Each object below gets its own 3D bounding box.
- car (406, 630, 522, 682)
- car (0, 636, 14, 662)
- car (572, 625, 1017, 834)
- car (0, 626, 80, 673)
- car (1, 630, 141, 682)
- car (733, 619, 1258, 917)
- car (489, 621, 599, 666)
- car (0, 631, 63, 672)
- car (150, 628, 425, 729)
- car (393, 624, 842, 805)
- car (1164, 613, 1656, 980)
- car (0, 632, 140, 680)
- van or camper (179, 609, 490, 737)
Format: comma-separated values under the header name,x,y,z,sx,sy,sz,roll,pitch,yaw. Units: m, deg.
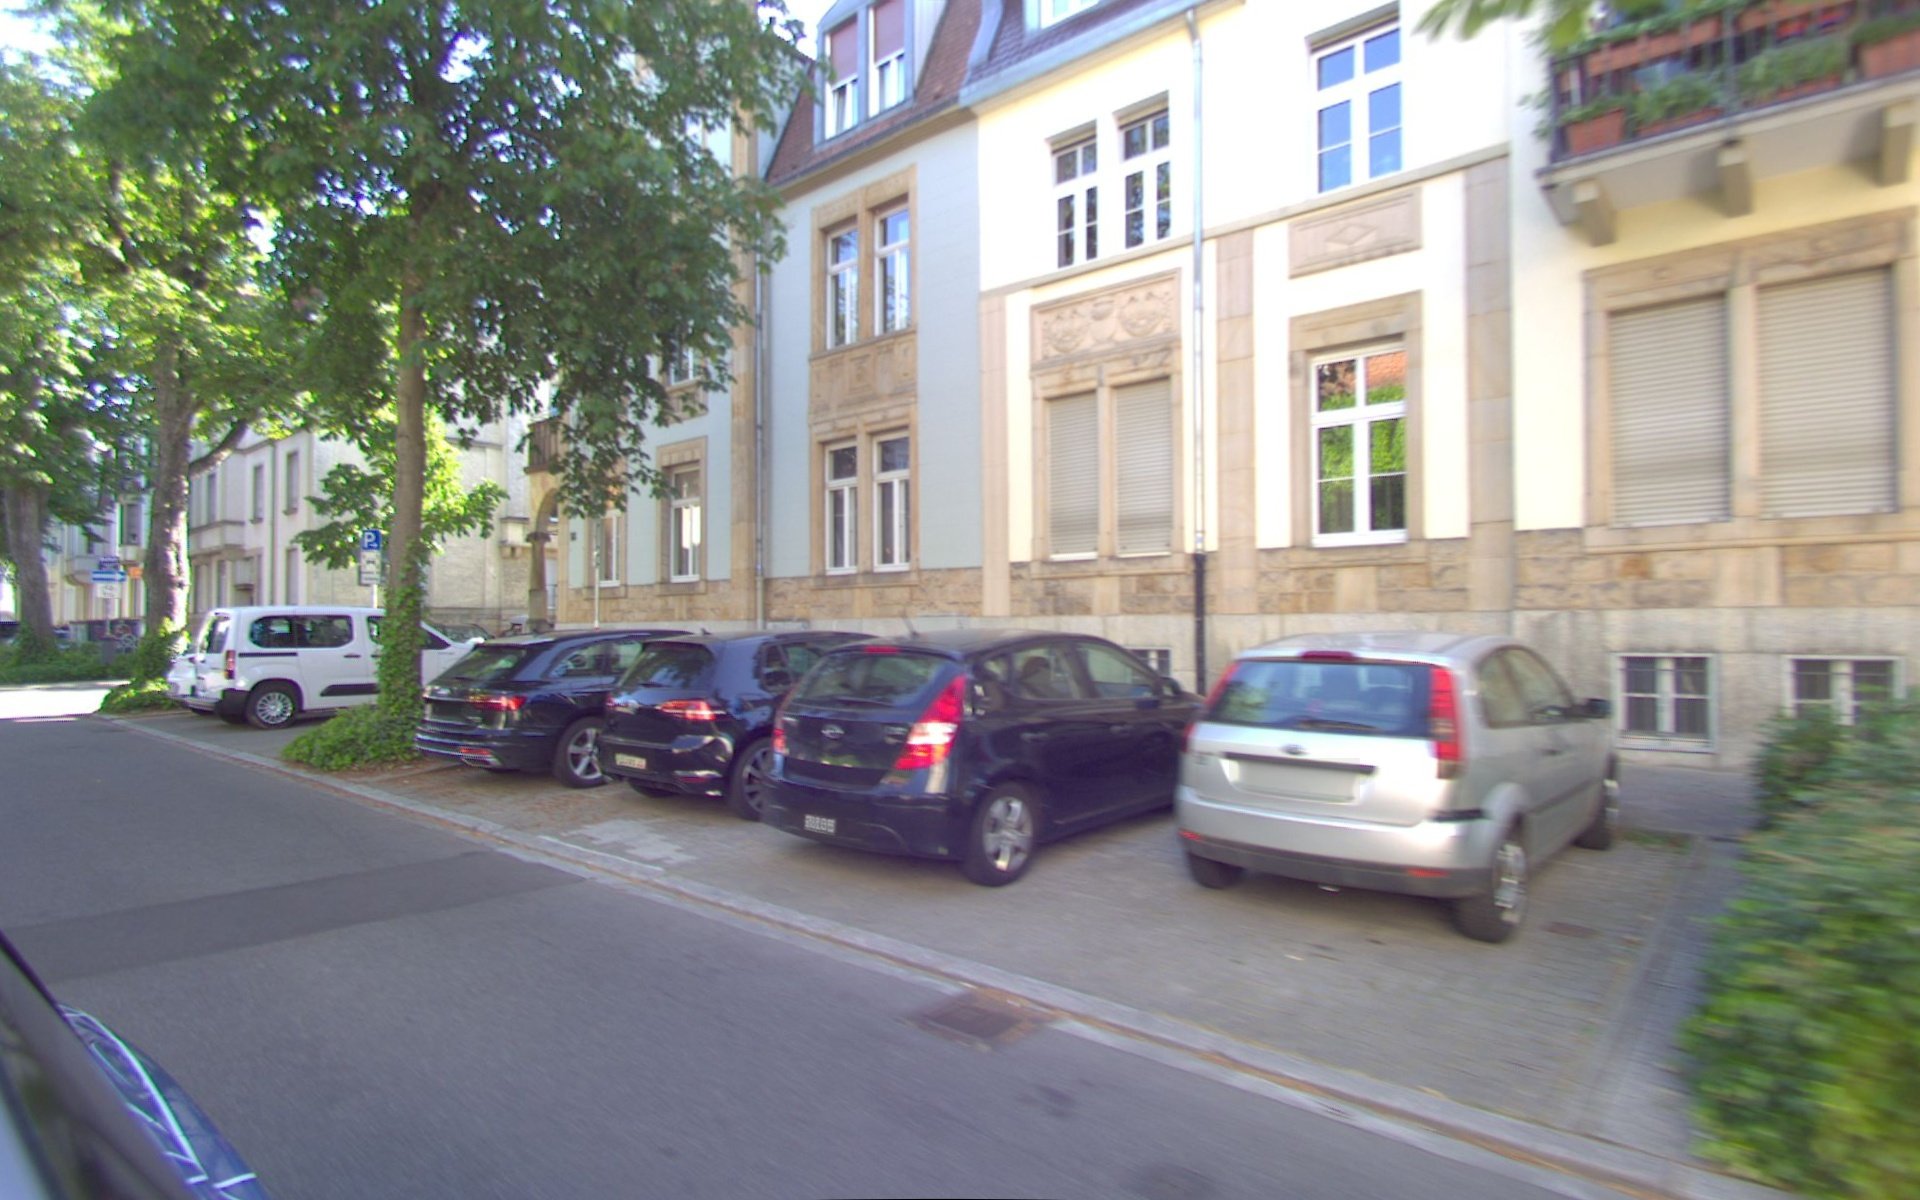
name,x,y,z,sx,sy,sz,roll,pitch,yaw
car,-16.145,1.779,32.881,4.416,1.566,1.845,-2,-3,42
car,-55.440,2.734,56.669,1.541,1.440,3.452,-2,-3,40
car,-1.267,0.975,8.966,1.645,1.442,3.708,-2,-3,41
car,-39.349,2.071,42.447,1.819,1.907,3.452,-2,-2,40
car,-35.119,2.168,40.124,3.934,1.775,2.005,-1,1,-36
car,0.452,0.905,7.090,1.714,1.476,3.686,-3,-2,41
car,-14.465,1.453,35.063,4.280,1.452,1.845,-1,-2,42
car,-41.034,2.216,43.535,1.681,1.704,3.452,-2,-2,40
car,-11.653,1.275,17.726,1.720,1.528,3.687,-2,-2,39
car,-3.307,1.003,10.431,1.709,1.411,4.097,-2,-1,40
car,2.859,0.836,6.021,1.695,1.459,3.512,-2,-1,41
car,-32.014,1.954,36.286,3.939,1.443,1.806,-1,1,-42
van or camper,-9.917,1.078,16.278,1.808,1.787,3.904,-3,-2,40
